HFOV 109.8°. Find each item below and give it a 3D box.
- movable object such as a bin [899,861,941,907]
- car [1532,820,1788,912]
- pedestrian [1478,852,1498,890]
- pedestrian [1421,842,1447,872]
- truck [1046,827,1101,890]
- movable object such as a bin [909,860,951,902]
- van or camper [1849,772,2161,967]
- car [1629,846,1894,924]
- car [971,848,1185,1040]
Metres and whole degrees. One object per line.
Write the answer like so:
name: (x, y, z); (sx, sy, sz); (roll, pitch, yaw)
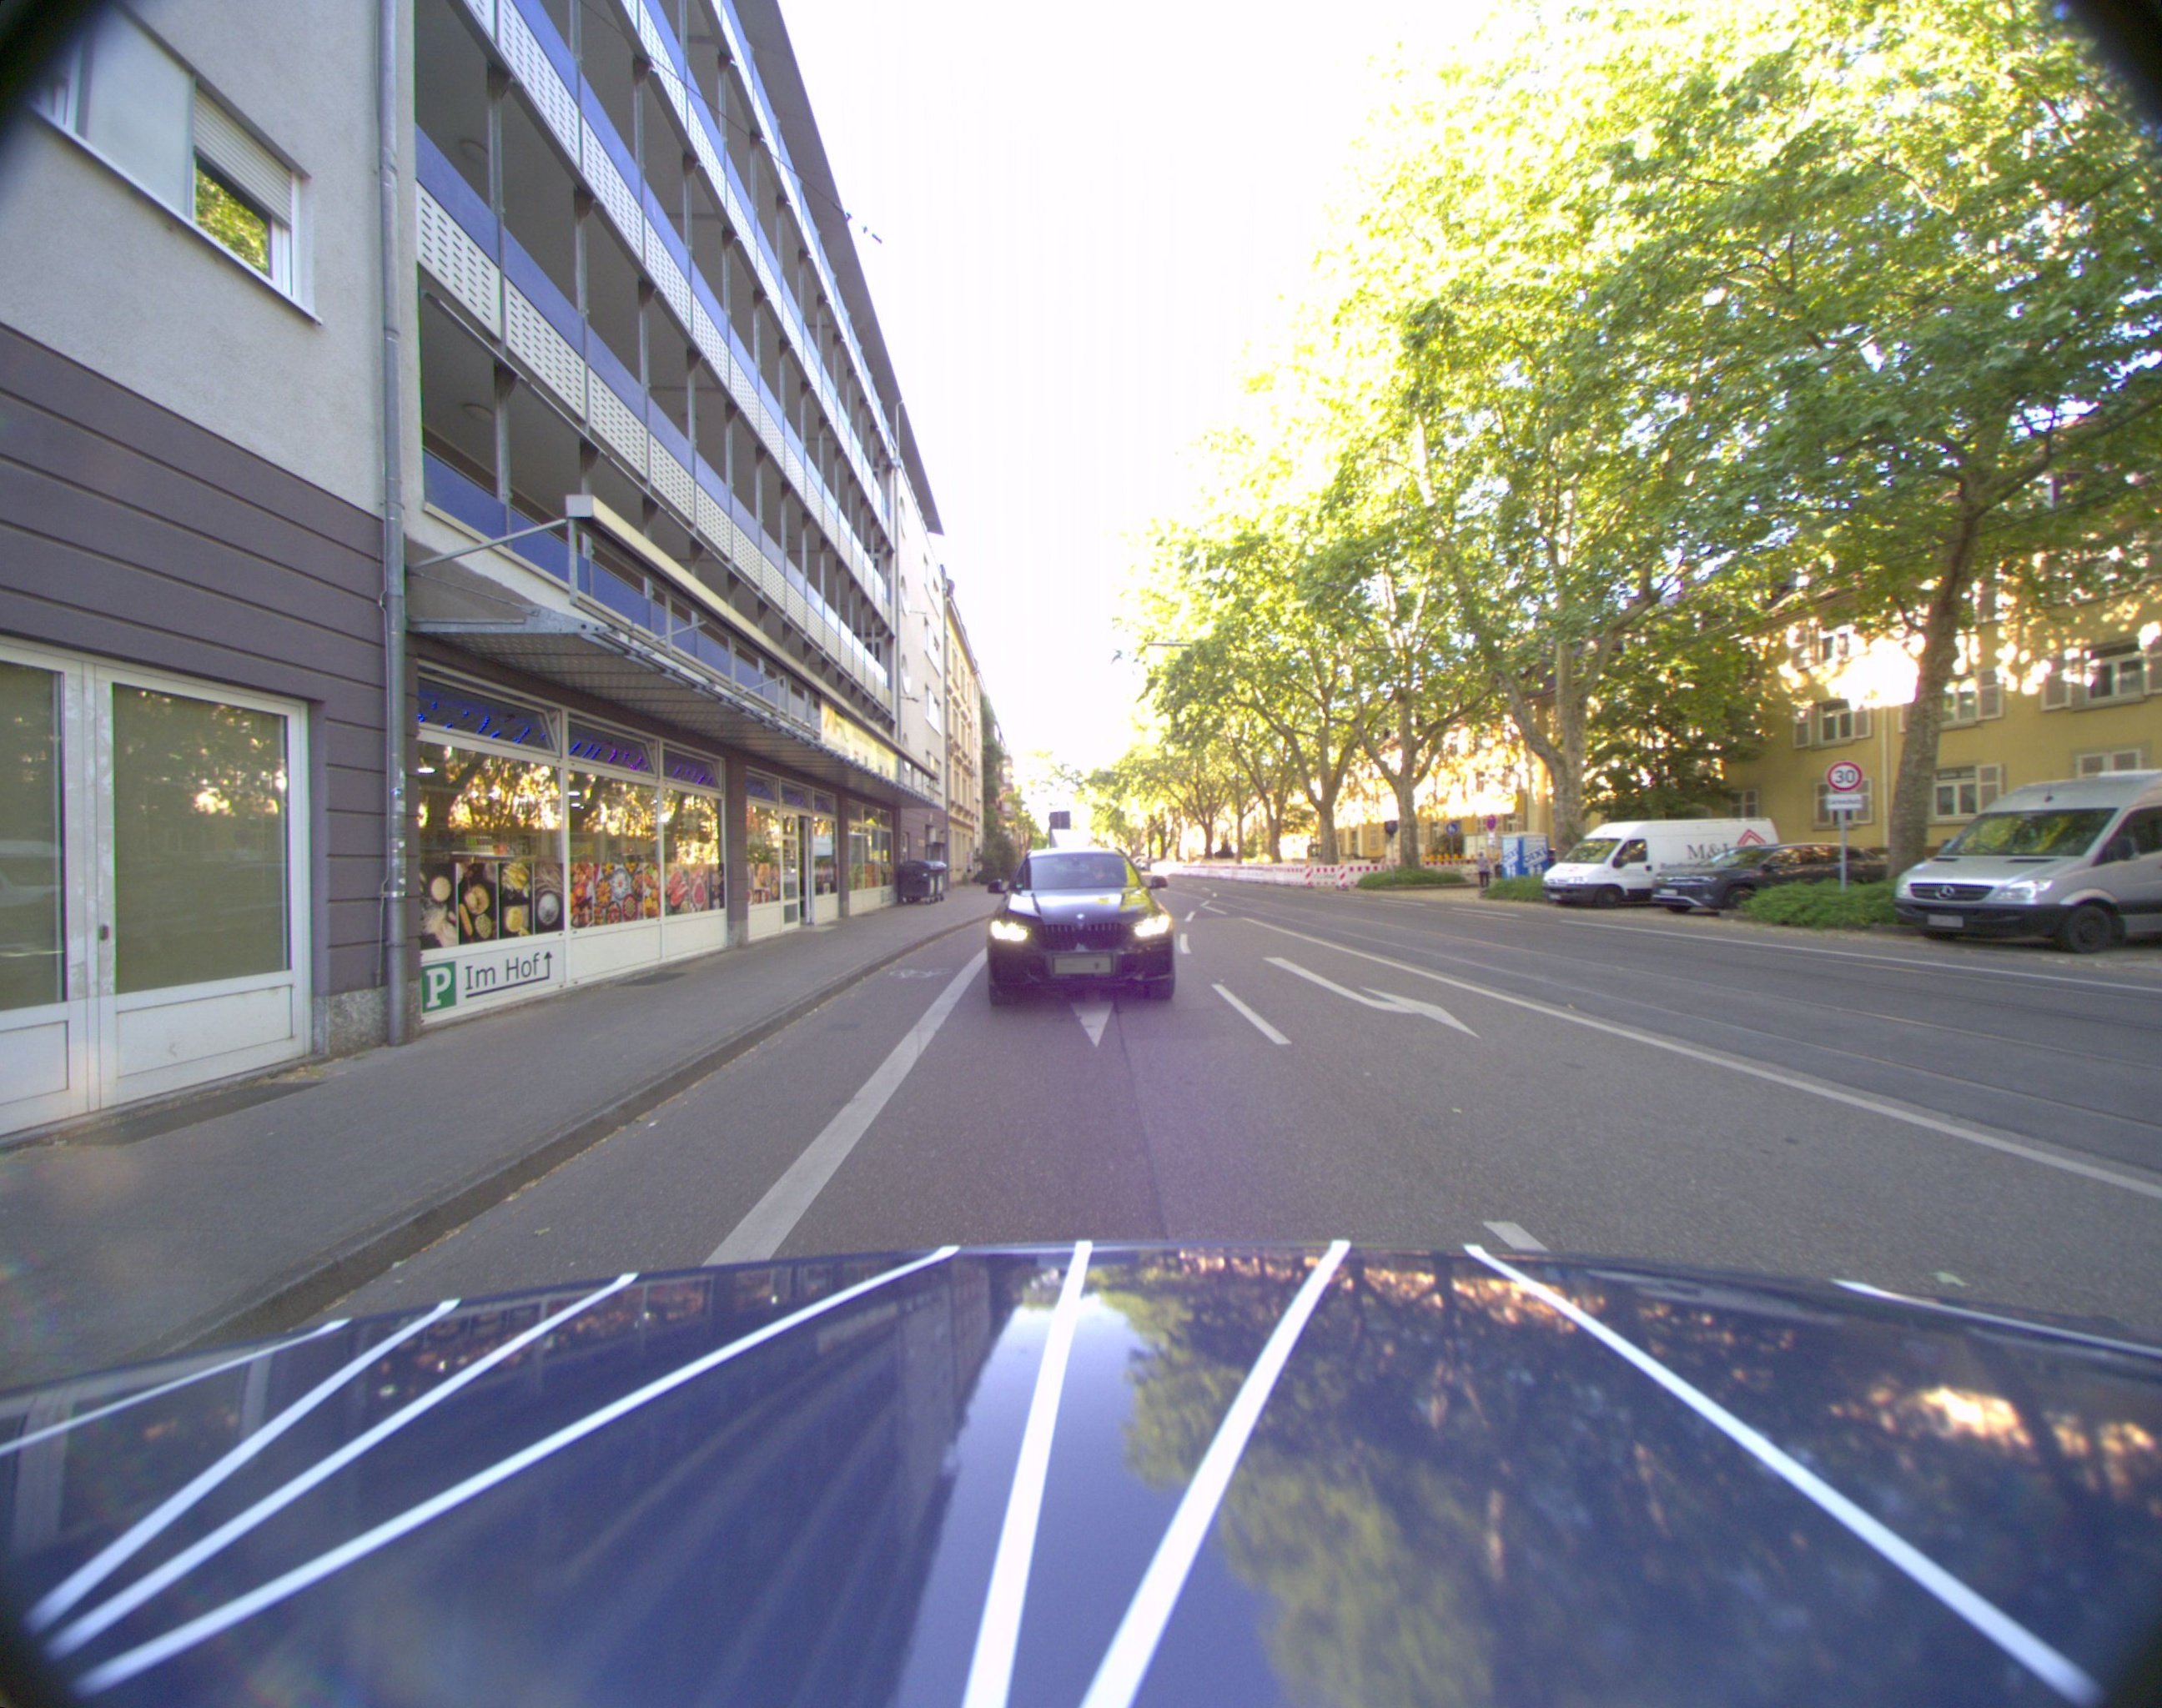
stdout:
movable object such as a bin: (-5.232, 0.958, 24.813); (1.069, 1.438, 1.296); (-1, 0, -1)
car: (15.848, 0.314, 21.001); (5.612, 2.361, 2.025); (-1, 0, -2)
pedestrian: (17.077, 0.692, 31.900); (0.595, 1.563, 0.719); (-1, 0, 39)
pedestrian: (24.022, 0.175, 51.743); (1.098, 2.002, 1.235); (-1, 0, -4)
truck: (-0.578, 0.249, 43.159); (2.385, 3.165, 8.525); (2, 0, -5)
movable object such as a bin: (-5.292, 0.941, 26.709); (1.122, 1.437, 1.306); (-1, 0, 4)
van or camper: (16.085, 0.159, 11.801); (6.127, 2.661, 2.229); (-2, 0, -2)
car: (15.936, 0.694, 17.974); (4.575, 1.621, 1.969); (-1, 0, -2)
car: (-0.007, 0.854, 9.349); (1.943, 1.733, 4.475); (-2, 0, 1)
